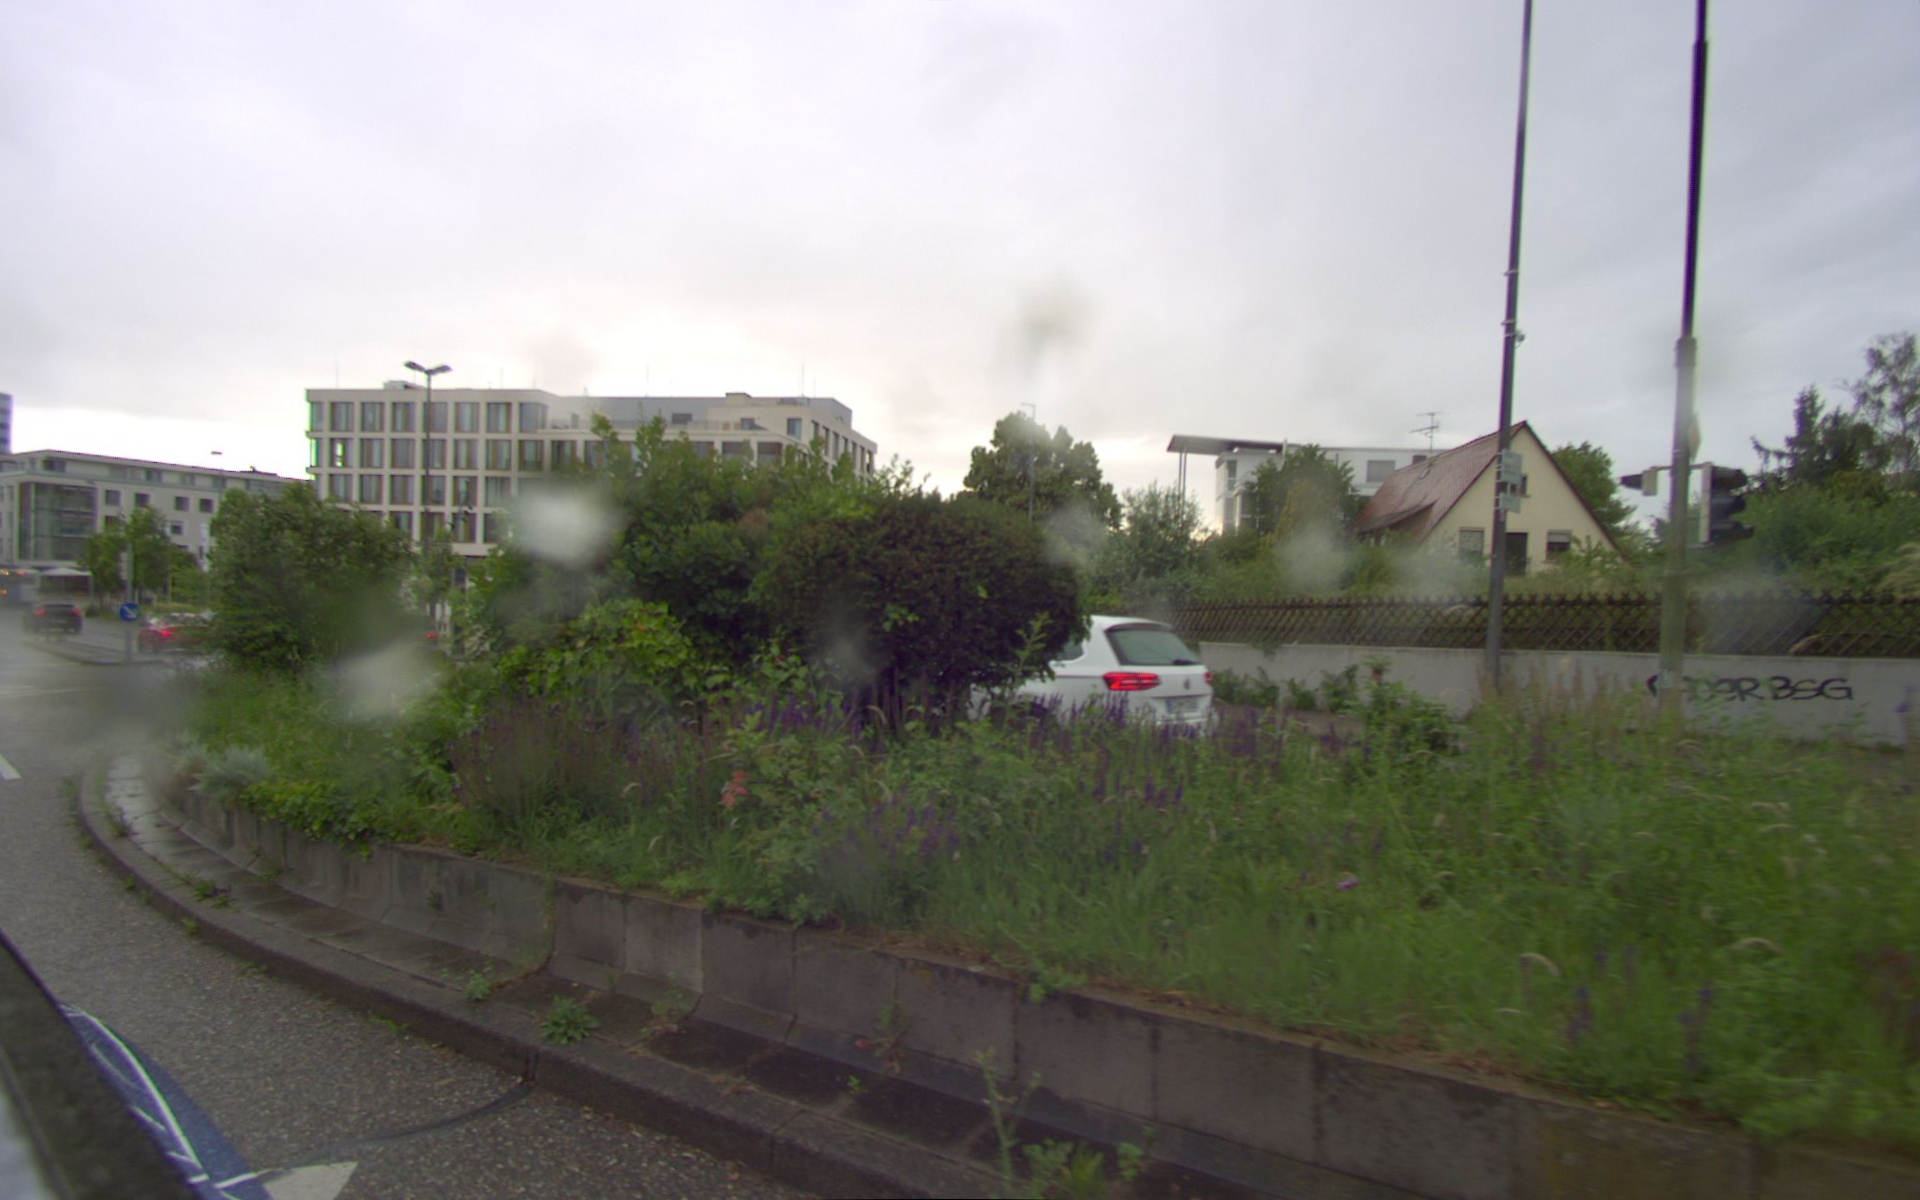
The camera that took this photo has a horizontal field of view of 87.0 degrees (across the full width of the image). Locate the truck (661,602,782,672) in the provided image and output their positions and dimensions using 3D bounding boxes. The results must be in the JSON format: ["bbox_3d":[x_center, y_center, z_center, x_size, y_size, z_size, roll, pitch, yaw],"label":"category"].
[{"bbox_3d":[-9.428,1.492,40.745,2.206,2.557,6.149,1,-2,13],"label":"truck"}]

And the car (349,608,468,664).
[{"bbox_3d":[-16.852,1.065,30.852,3.999,1.590,1.972,-1,-2,42],"label":"car"}]

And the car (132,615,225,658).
[{"bbox_3d":[-28.610,1.283,36.999,4.431,1.424,1.972,1,0,43],"label":"car"}]

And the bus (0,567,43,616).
[{"bbox_3d":[-86.576,-0.762,90.319,18.187,4.025,2.918,1,-2,35],"label":"bus"}]

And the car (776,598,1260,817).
[{"bbox_3d":[0.379,0.853,10.028,4.597,1.674,1.972,-1,-2,43],"label":"car"}]

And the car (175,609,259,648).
[{"bbox_3d":[-31.658,1.201,43.076,4.293,1.489,1.930,0,-2,41],"label":"car"}]

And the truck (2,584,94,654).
[{"bbox_3d":[-35.023,0.670,38.799,6.201,2.458,2.139,0,0,44],"label":"truck"}]

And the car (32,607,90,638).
[{"bbox_3d":[-47.652,1.183,53.630,4.074,1.564,1.882,0,-1,43],"label":"car"}]
